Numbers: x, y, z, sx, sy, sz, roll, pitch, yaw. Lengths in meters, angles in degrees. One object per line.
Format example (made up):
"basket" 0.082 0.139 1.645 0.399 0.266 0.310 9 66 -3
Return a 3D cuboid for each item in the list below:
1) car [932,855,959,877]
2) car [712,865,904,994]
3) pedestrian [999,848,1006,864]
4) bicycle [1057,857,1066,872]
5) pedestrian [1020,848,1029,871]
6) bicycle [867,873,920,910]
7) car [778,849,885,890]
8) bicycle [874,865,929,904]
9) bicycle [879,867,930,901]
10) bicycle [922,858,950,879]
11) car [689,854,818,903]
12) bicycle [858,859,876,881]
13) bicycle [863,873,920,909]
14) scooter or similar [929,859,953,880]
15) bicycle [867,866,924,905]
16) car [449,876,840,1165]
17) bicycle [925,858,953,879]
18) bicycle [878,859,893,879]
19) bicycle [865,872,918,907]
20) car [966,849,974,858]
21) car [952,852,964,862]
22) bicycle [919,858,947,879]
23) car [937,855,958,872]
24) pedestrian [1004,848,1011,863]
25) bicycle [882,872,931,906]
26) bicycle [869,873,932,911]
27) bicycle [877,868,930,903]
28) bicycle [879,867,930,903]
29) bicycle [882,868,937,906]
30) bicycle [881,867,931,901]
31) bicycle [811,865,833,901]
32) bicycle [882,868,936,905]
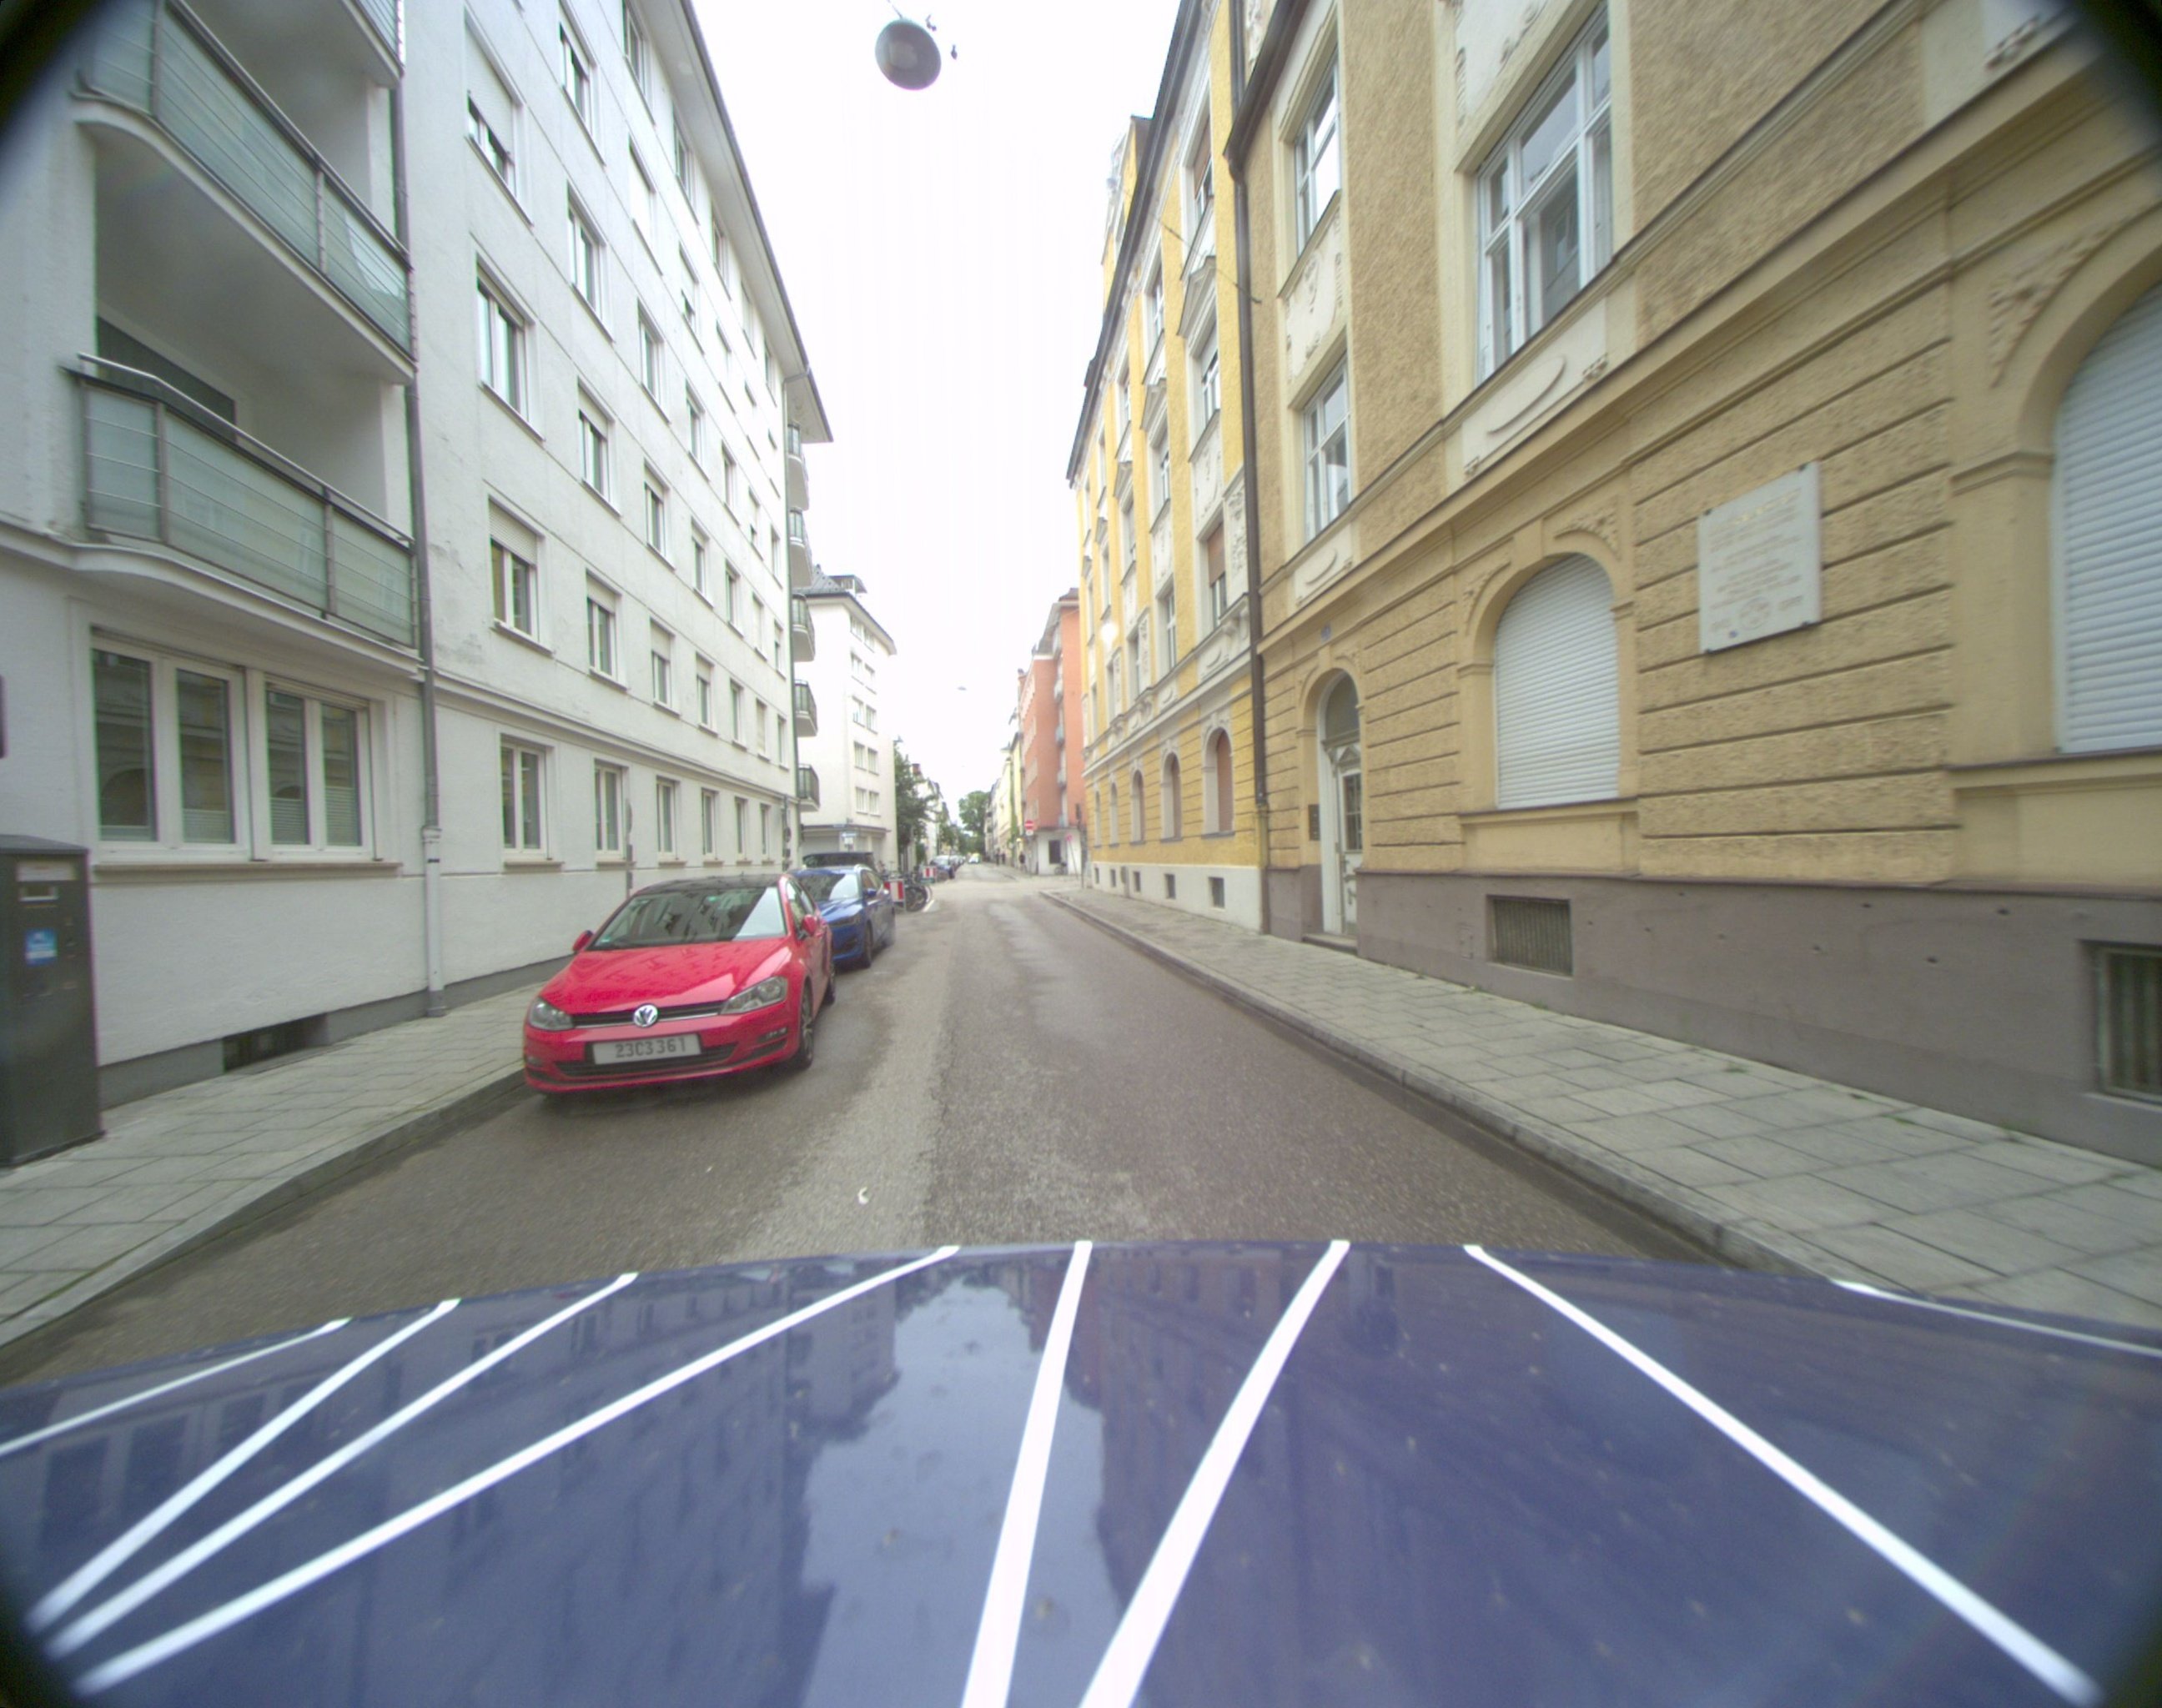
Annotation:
"car" -9.328 0.782 52.578 1.655 1.390 3.997 -2 1 -8
"car" -3.981 0.993 11.878 1.800 1.430 4.380 -4 1 -7
"pedestrian" -9.187 0.211 88.362 0.726 1.783 0.829 -2 1 -8
"bicycle" -1.245 0.647 48.057 0.391 0.932 1.539 -2 0 -8
"pedestrian" -4.316 0.432 57.790 0.613 1.684 0.565 -2 1 -9
"bicycle" -5.425 1.074 21.996 1.439 1.037 0.330 0 1 0
"car" -12.454 0.741 38.205 4.679 1.880 1.933 -2 0 0
"bicycle" -5.756 0.975 24.415 1.667 1.154 0.378 -2 1 -9
"bicycle" -6.228 1.058 26.915 1.701 1.154 0.313 -2 1 -9
"bicycle" -8.928 0.903 46.755 1.609 1.207 0.529 -2 1 -6
"car" -13.958 1.020 32.567 4.618 1.862 1.933 -2 1 0
"bicycle" -12.444 0.940 44.181 0.529 1.207 1.609 -2 1 0
"bicycle" -5.561 1.074 22.342 1.591 1.037 0.323 0 1 0
"scooter or similar" -8.260 0.909 44.834 1.341 1.207 0.344 -2 1 -6
"bicycle" -5.841 0.987 23.988 1.701 1.154 0.378 -2 1 -9
"car" -3.230 1.027 6.661 1.767 1.438 4.293 -4 1 -14
"bicycle" -8.617 0.901 46.222 1.609 1.207 0.529 -2 1 -6
"bicycle" -12.405 0.924 48.188 0.529 1.207 1.609 -2 1 0
"bicycle" -5.696 1.069 22.878 1.521 1.037 0.360 0 1 0
"car" -28.277 -0.096 193.519 2.000 2.002 4.643 -2 0 -9
"car" -17.868 0.373 110.450 1.655 1.390 3.997 -2 1 -8
"bicycle" -9.209 0.903 47.283 1.609 1.207 0.529 -2 1 -6
"car" -11.764 0.774 67.226 1.655 1.390 3.997 -2 1 -8
"pedestrian" -8.569 0.185 88.507 0.700 1.783 0.763 -2 1 -7
"bicycle" -5.338 1.065 23.270 1.442 1.037 0.360 0 1 0
"bicycle" -5.114 1.073 21.570 1.708 1.037 0.360 0 1 -8
"bicycle" -6.113 1.077 26.228 1.701 1.154 0.378 -2 1 -9
"bicycle" -6.172 1.080 26.591 1.701 1.154 0.313 -2 1 -9
"bicycle" -5.625 1.073 24.915 1.701 1.154 0.378 -2 1 -9
"bicycle" -6.273 1.073 27.319 1.701 1.154 0.418 -2 1 -9
"bicycle" -9.244 1.014 27.123 0.400 1.197 1.502 0 1 -33
"bicycle" -5.720 1.071 25.304 1.701 1.154 0.378 -2 1 -9
